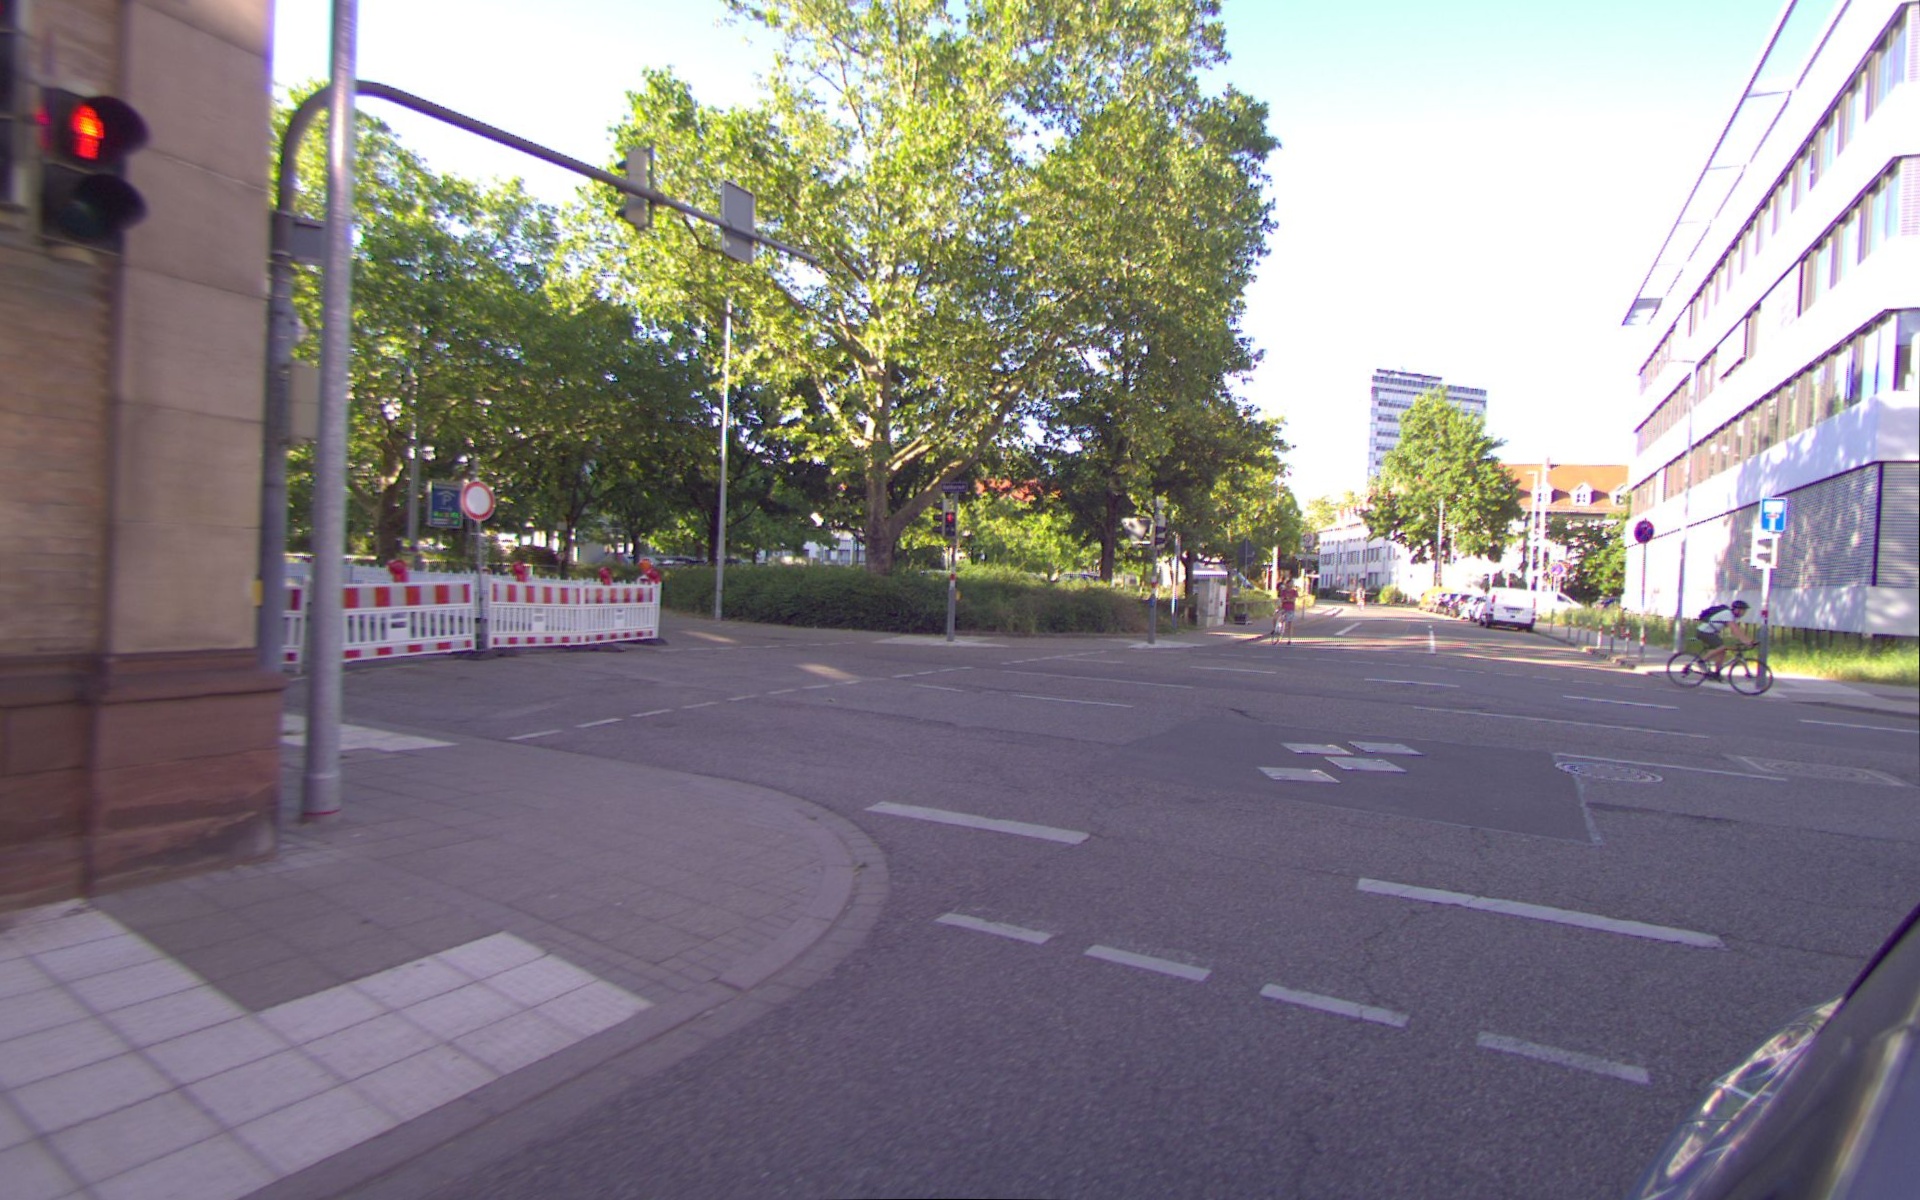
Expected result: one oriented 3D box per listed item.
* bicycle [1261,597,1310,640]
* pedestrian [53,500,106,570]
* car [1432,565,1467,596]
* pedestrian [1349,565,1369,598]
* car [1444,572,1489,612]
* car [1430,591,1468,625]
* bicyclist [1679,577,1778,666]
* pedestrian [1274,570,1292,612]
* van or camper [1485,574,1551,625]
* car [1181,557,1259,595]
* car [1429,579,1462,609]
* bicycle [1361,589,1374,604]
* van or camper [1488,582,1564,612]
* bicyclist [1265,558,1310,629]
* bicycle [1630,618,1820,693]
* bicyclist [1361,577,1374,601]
[{"bbox_3d":[8.830,0.465,27.363,0.932,1.051,2.981,3,1,24],"label":"bicycle"},{"bbox_3d":[-35.141,-2.578,40.414,1.396,2.700,1.149,2,1,-32],"label":"pedestrian"},{"bbox_3d":[34.157,-1.349,70.683,1.979,2.038,3.967,3,1,24],"label":"car"},{"bbox_3d":[40.643,-1.877,103.173,1.435,3.350,1.403,2,1,8],"label":"pedestrian"},{"bbox_3d":[27.738,-0.439,55.522,1.979,2.038,3.967,3,1,24],"label":"car"},{"bbox_3d":[31.509,0.473,65.328,1.979,2.038,3.967,3,1,24],"label":"car"},{"bbox_3d":[14.508,0.392,19.126,0.934,1.564,1.128,2,3,-31],"label":"bicyclist"},{"bbox_3d":[14.626,-0.403,45.791,0.658,1.878,1.020,2,1,16],"label":"pedestrian"},{"bbox_3d":[25.014,-0.061,45.547,2.140,2.038,4.935,3,2,25],"label":"van or camper"},{"bbox_3d":[16.349,-1.502,63.600,4.512,2.140,1.986,3,1,21],"label":"car"},{"bbox_3d":[35.818,-0.415,74.795,1.979,2.039,3.966,3,0,24],"label":"car"},{"bbox_3d":[27.767,-0.235,69.037,0.753,0.961,3.036,3,1,21],"label":"bicycle"},{"bbox_3d":[43.315,-0.247,77.565,4.665,2.112,1.990,3,1,16],"label":"van or camper"},{"bbox_3d":[8.802,-0.174,27.194,0.968,1.830,1.122,3,1,25],"label":"bicyclist"},{"bbox_3d":[14.432,1.010,19.205,0.963,1.064,2.664,2,4,-31],"label":"bicycle"},{"bbox_3d":[27.813,-0.763,69.071,0.753,1.612,0.895,3,1,22],"label":"bicyclist"}]
